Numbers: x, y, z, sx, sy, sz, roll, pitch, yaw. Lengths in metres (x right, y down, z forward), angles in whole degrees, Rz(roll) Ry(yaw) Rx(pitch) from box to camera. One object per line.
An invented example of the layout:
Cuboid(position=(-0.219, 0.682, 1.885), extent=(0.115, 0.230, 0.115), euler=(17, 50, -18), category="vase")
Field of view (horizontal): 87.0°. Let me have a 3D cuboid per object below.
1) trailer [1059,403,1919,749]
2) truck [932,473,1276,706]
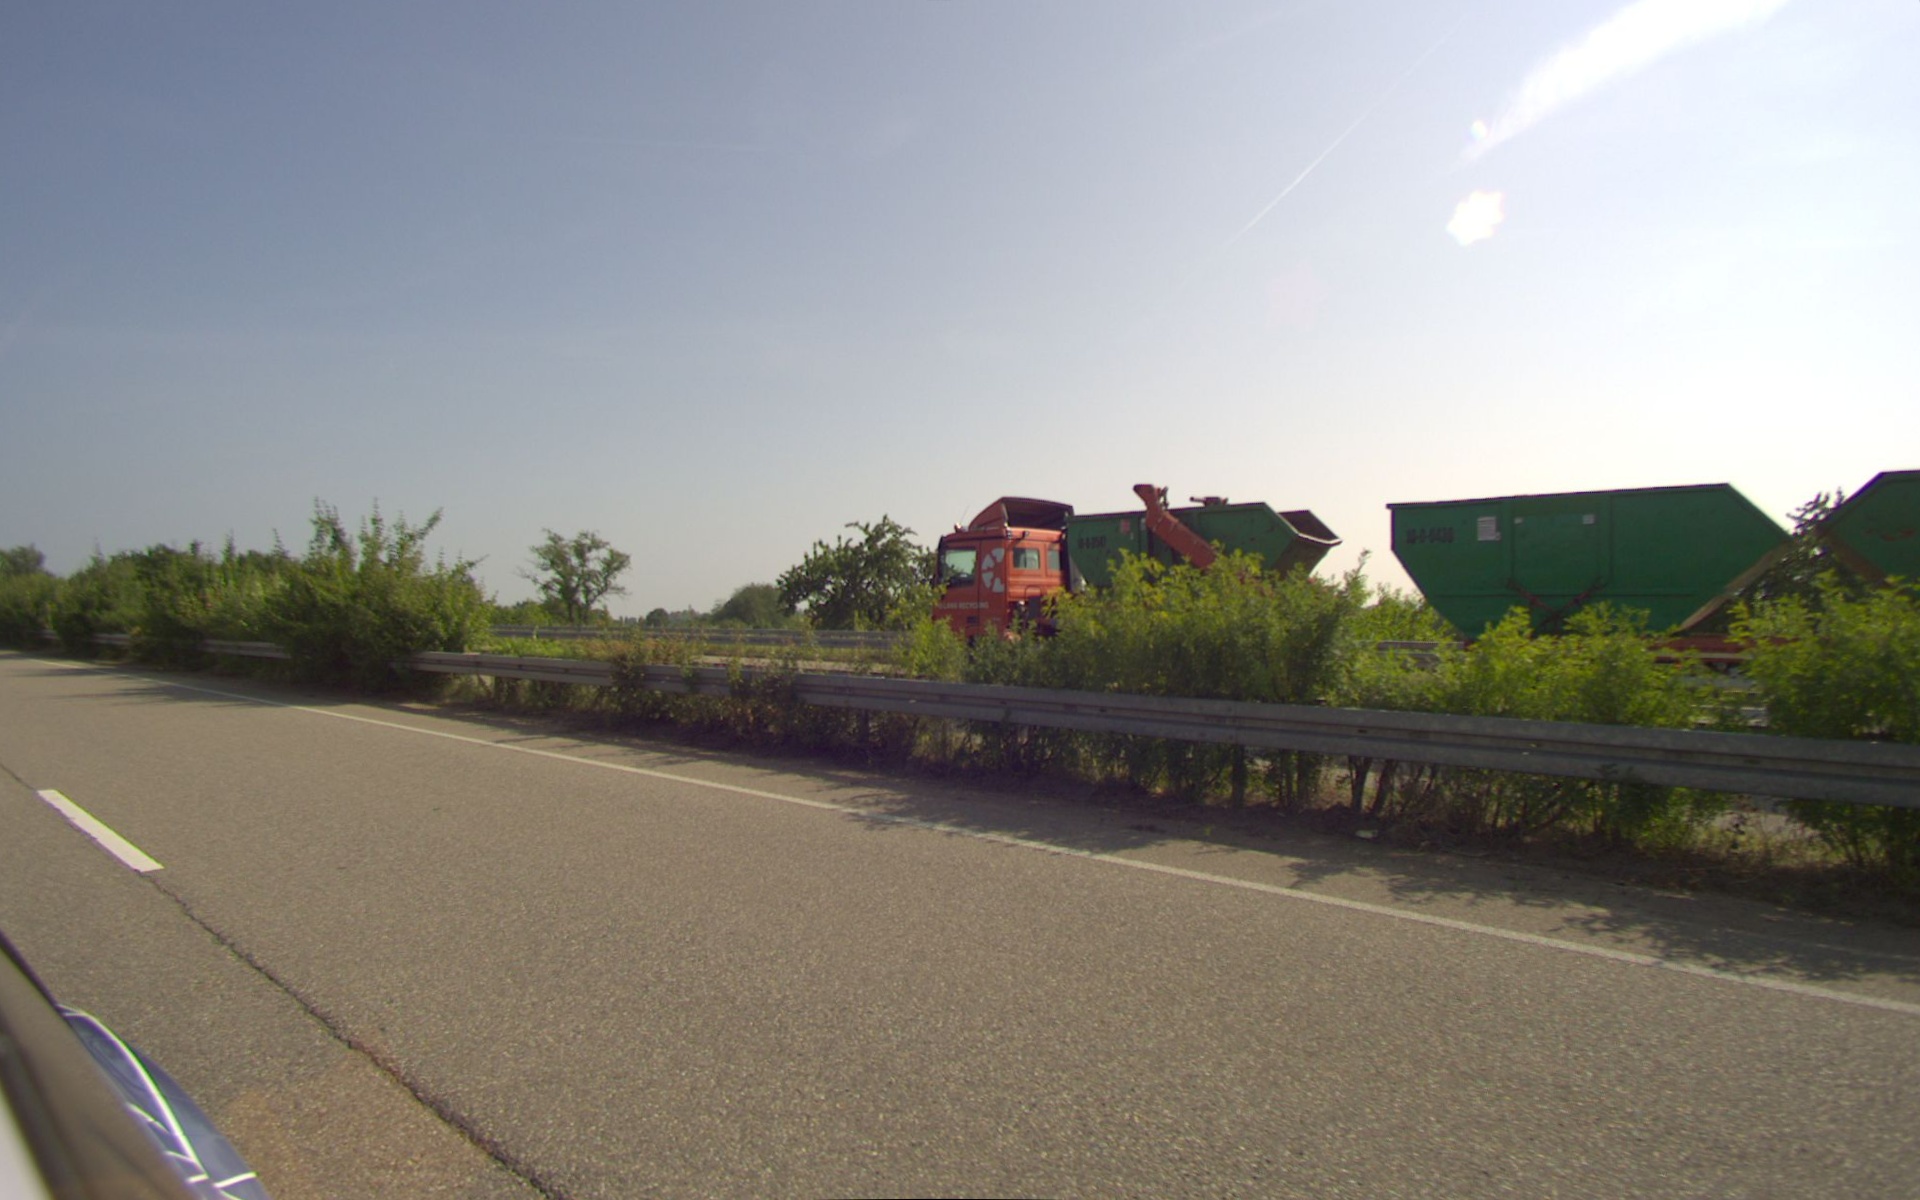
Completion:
Cuboid(position=(7.382, -0.201, 12.982), extent=(13.416, 3.401, 1.973), euler=(-1, -1, 40), category="trailer")
Cuboid(position=(2.283, -0.126, 17.305), extent=(5.624, 3.401, 1.973), euler=(-1, -1, 40), category="truck")
